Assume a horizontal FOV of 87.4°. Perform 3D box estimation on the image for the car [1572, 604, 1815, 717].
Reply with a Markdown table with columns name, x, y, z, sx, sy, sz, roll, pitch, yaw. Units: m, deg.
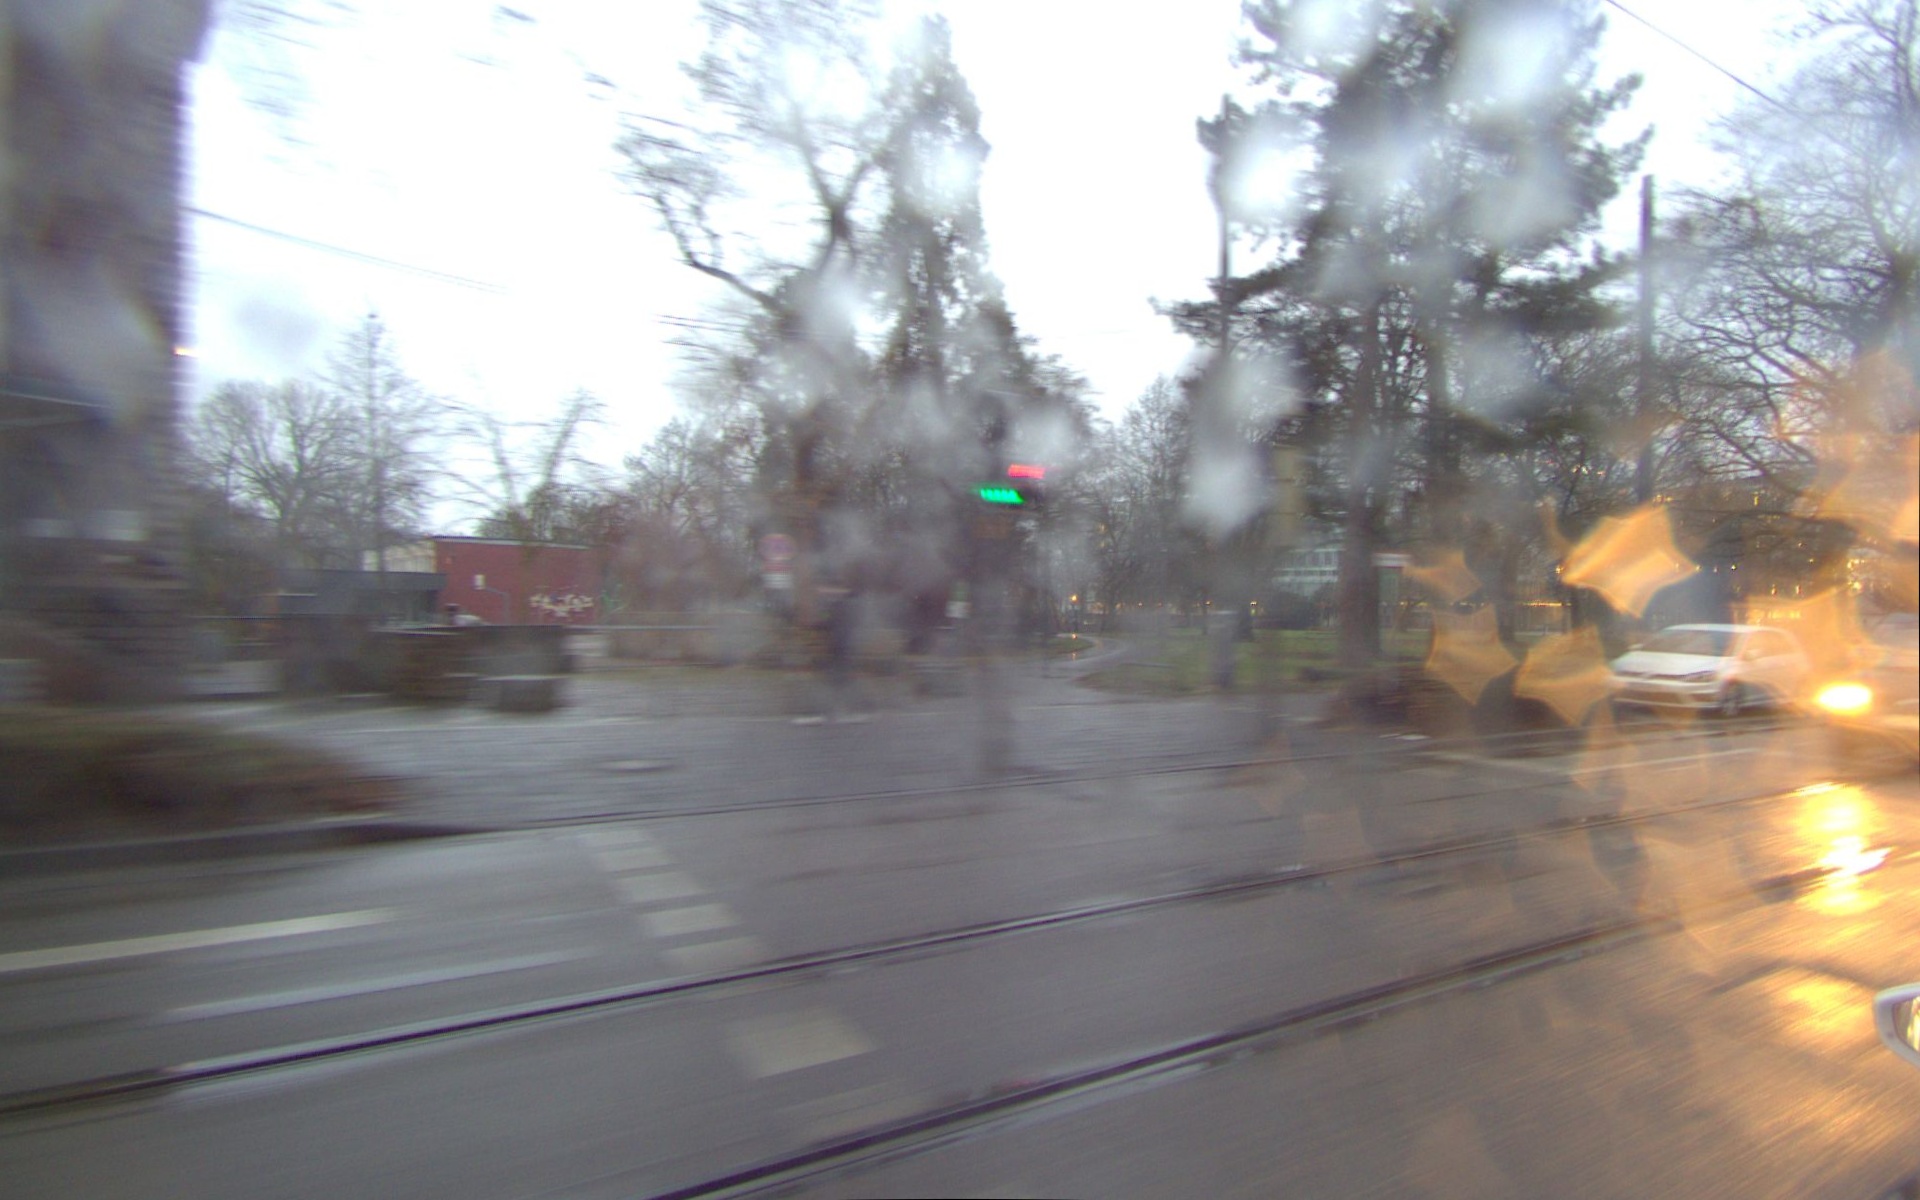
| name | x | y | z | sx | sy | sz | roll | pitch | yaw |
| --- | --- | --- | --- | --- | --- | --- | --- | --- | --- |
| car | 12.465 | 0.962 | 16.994 | 4.384 | 1.637 | 1.971 | 2 | 0 | -35 |

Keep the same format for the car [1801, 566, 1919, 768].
| name | x | y | z | sx | sy | sz | roll | pitch | yaw |
| --- | --- | --- | --- | --- | --- | --- | --- | --- | --- |
| car | 11.464 | 0.731 | 11.105 | 3.951 | 2.040 | 1.985 | 2 | 0 | -28 |

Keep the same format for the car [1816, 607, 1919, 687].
| name | x | y | z | sx | sy | sz | roll | pitch | yaw |
| --- | --- | --- | --- | --- | --- | --- | --- | --- | --- |
| car | 21.411 | 1.046 | 22.776 | 4.384 | 1.637 | 1.971 | 2 | 0 | -35 |

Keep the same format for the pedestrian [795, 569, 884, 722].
| name | x | y | z | sx | sy | sz | roll | pitch | yaw |
| --- | --- | --- | --- | --- | --- | --- | --- | --- | --- |
| pedestrian | -1.519 | 0.561 | 12.577 | 0.992 | 1.839 | 0.821 | 2 | 0 | -12 |
